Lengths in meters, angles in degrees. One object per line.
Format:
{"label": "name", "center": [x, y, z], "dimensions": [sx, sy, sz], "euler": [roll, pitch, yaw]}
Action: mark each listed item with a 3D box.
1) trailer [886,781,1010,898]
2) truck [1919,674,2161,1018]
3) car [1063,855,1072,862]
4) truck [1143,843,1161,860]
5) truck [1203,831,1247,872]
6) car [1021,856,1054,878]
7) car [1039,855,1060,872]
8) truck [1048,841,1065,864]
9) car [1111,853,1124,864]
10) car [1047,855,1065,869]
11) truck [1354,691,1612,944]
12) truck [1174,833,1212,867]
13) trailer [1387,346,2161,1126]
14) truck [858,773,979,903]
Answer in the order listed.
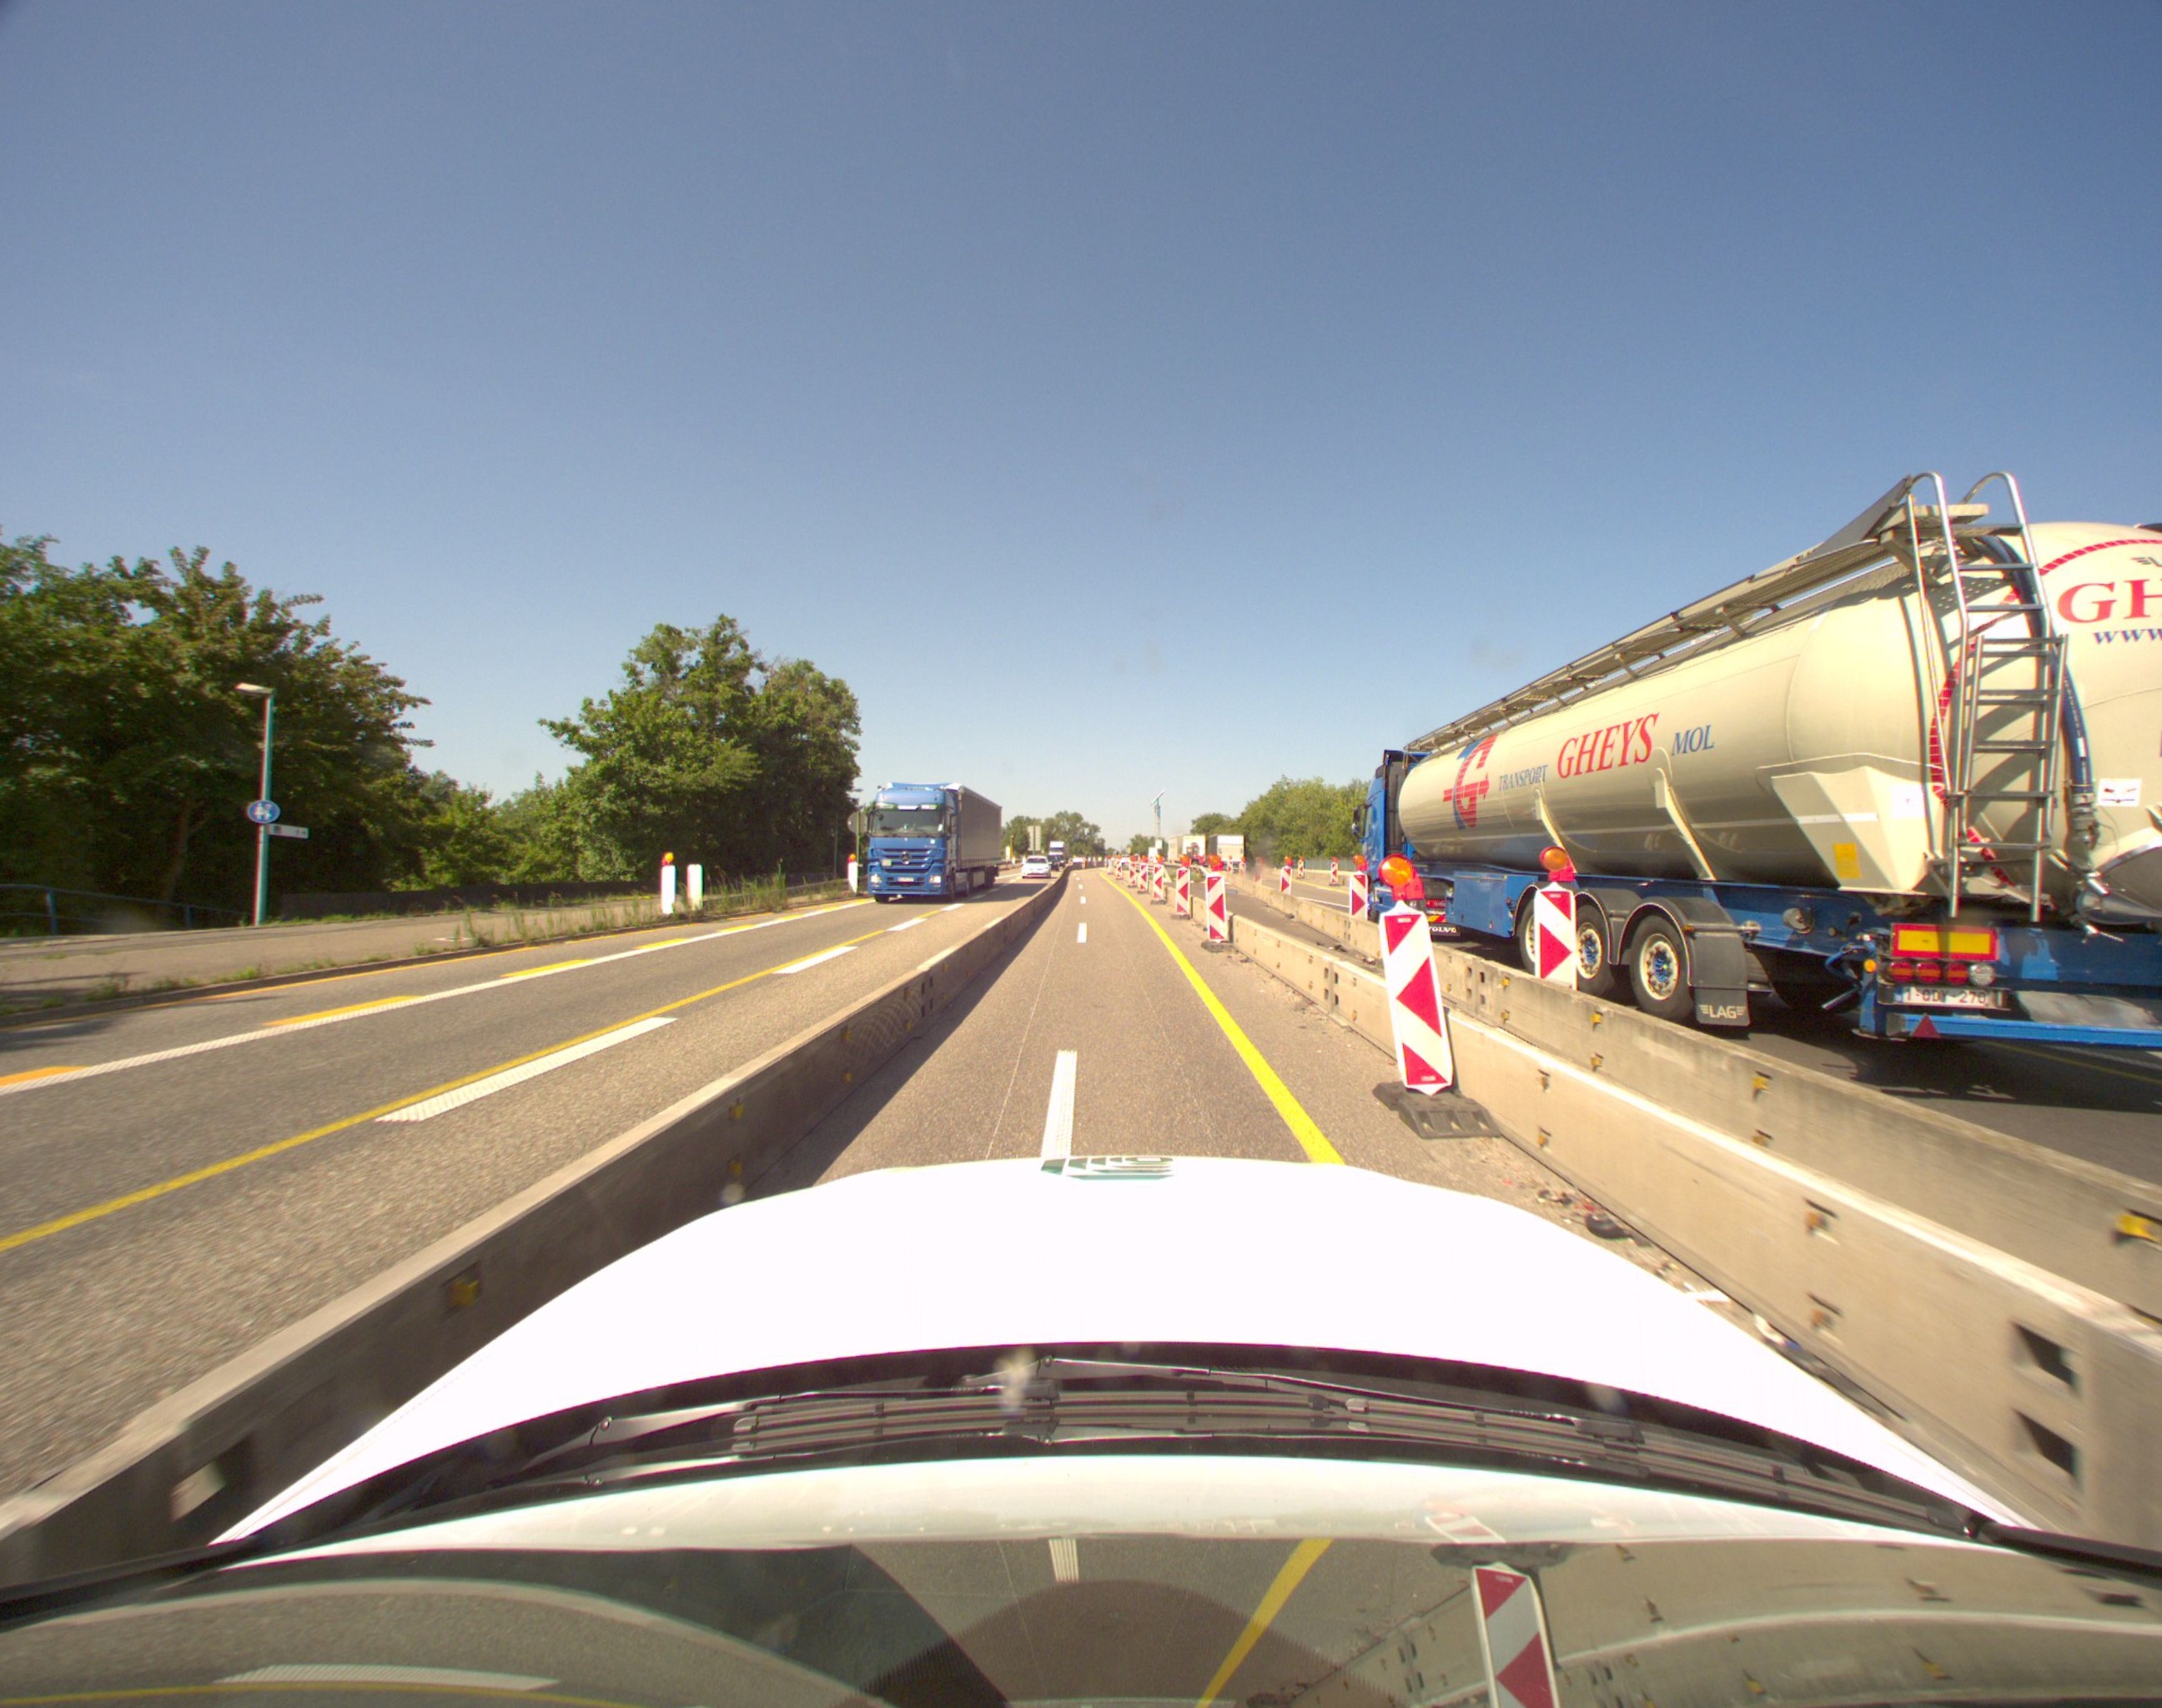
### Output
{"label": "trailer", "center": [-5.227, -0.533, 35.142], "dimensions": [2.793, 4.042, 13.471], "euler": [-1, 0, 1]}
{"label": "truck", "center": [12.025, -0.105, 6.123], "dimensions": [2.589, 3.433, 8.737], "euler": [-1, 0, 2]}
{"label": "car", "center": [-3.011, 1.003, 185.228], "dimensions": [1.926, 1.508, 4.469], "euler": [0, 0, 1]}
{"label": "truck", "center": [18.651, -0.608, 215.121], "dimensions": [4.204, 4.267, 10.245], "euler": [-1, 0, 2]}
{"label": "truck", "center": [12.881, -0.218, 73.411], "dimensions": [2.626, 3.427, 7.232], "euler": [-1, 0, 0]}
{"label": "car", "center": [-2.815, 0.816, 53.059], "dimensions": [1.807, 1.417, 4.155], "euler": [0, 0, 2]}
{"label": "car", "center": [-2.948, 0.863, 76.580], "dimensions": [1.732, 1.552, 3.942], "euler": [0, 0, 0]}
{"label": "truck", "center": [-4.392, -0.239, 148.777], "dimensions": [2.740, 4.136, 6.415], "euler": [-1, 0, 1]}
{"label": "car", "center": [5.691, 0.697, 127.433], "dimensions": [1.810, 1.776, 3.999], "euler": [-1, 0, 0]}
{"label": "car", "center": [-2.841, 0.911, 93.997], "dimensions": [1.856, 1.632, 4.566], "euler": [0, 0, 1]}
{"label": "truck", "center": [7.773, -0.565, 16.977], "dimensions": [2.678, 4.102, 7.317], "euler": [-1, 0, 8]}
{"label": "truck", "center": [12.958, -0.433, 94.770], "dimensions": [3.377, 3.774, 7.232], "euler": [-1, 0, 0]}
{"label": "trailer", "center": [6.809, -0.609, 10.548], "dimensions": [2.678, 4.137, 12.644], "euler": [-1, 0, 9]}
{"label": "truck", "center": [-5.384, -0.507, 28.124], "dimensions": [2.805, 3.990, 5.987], "euler": [-1, 0, 1]}
